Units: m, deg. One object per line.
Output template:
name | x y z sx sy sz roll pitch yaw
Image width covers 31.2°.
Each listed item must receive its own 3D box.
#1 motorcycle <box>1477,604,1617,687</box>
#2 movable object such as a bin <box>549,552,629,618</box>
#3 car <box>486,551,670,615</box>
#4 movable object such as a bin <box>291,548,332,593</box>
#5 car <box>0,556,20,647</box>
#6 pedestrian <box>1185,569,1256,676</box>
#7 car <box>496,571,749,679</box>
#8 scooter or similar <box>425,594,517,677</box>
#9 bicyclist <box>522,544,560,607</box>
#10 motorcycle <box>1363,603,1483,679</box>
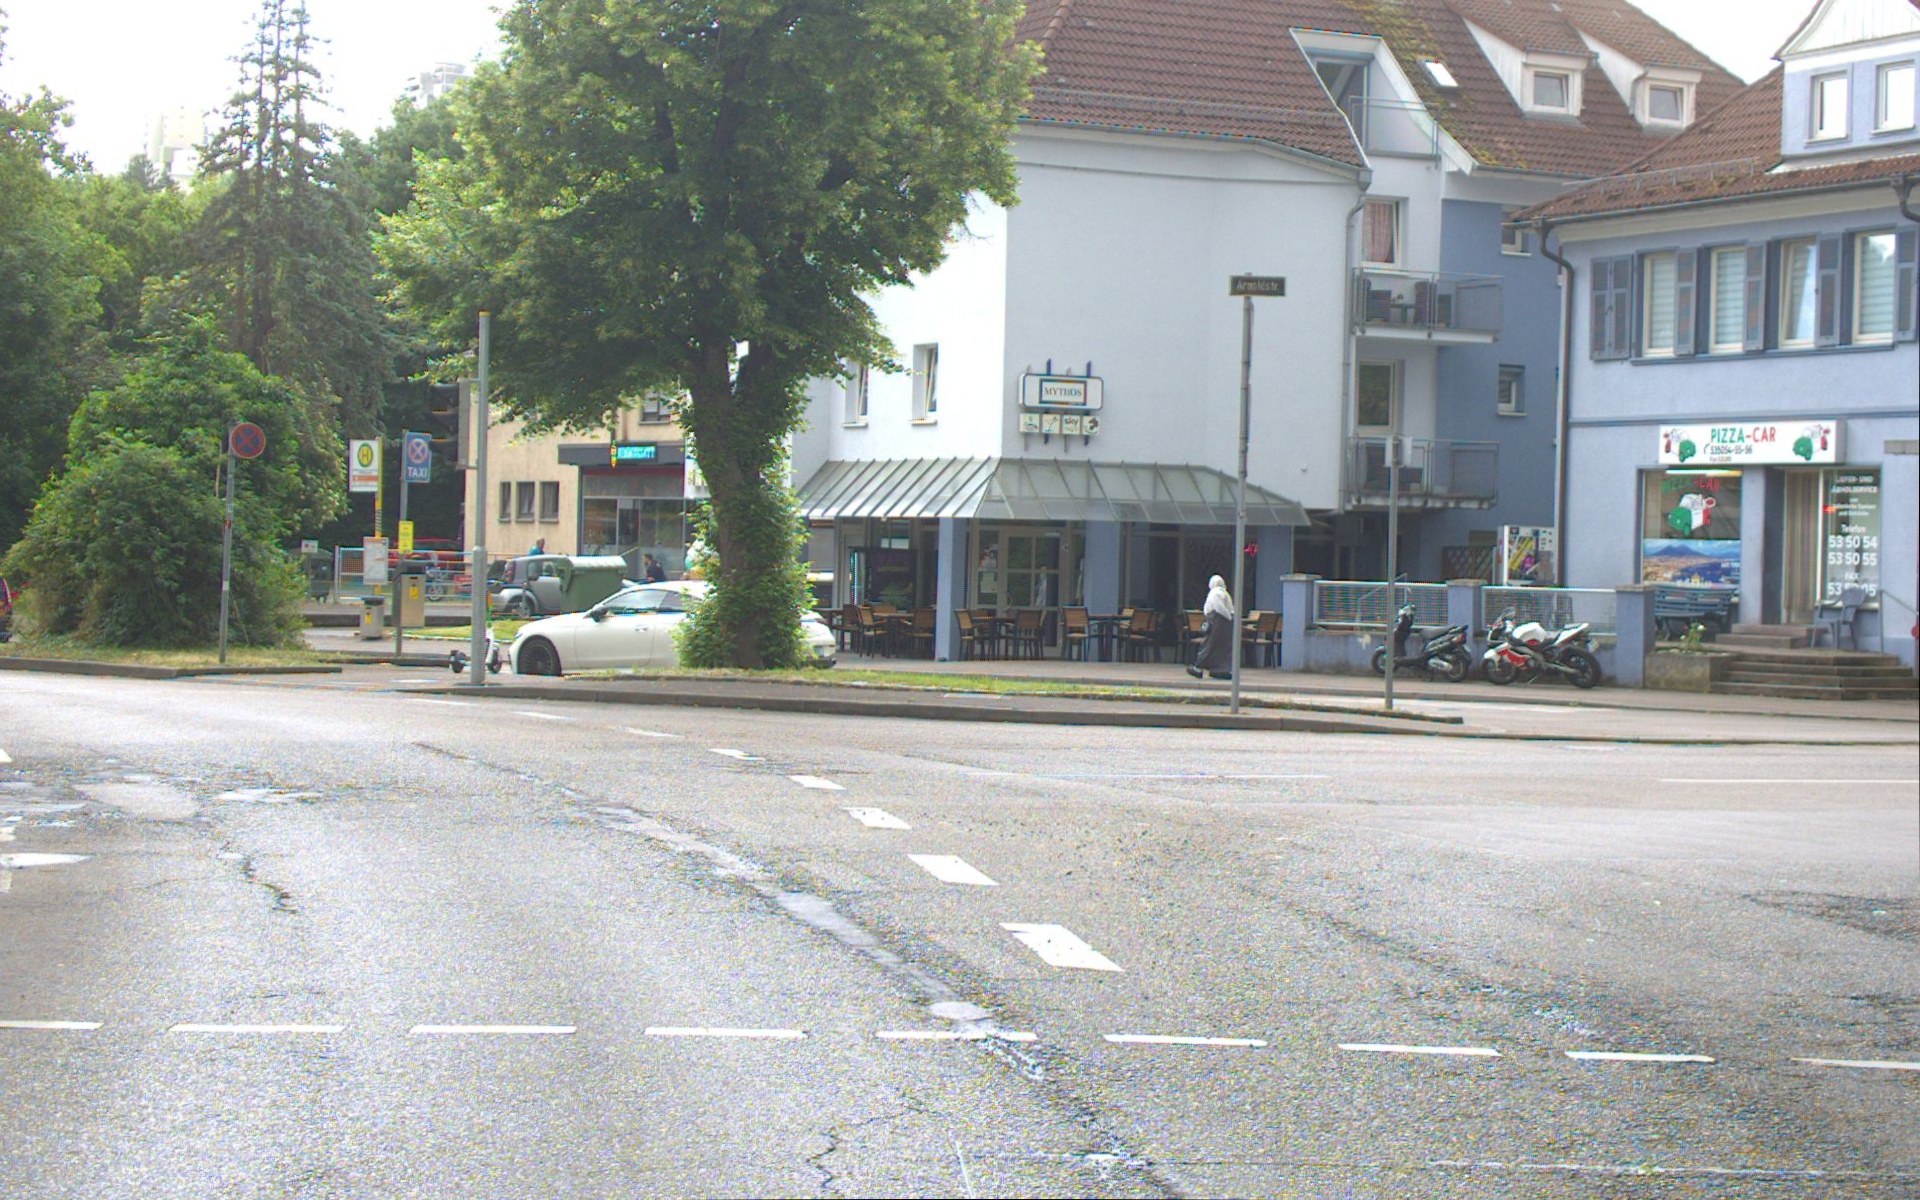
motorcycle | 8.256 0.632 48.385 1.798 1.118 0.693 2 1 38
movable object such as a bin | -7.985 -0.327 73.979 1.440 1.404 0.967 1 1 -27
car | -8.428 -0.368 75.876 3.733 1.340 1.434 1 1 -26
movable object such as a bin | -16.250 -0.735 86.171 0.950 1.111 0.383 1 1 -21
car | -16.515 -0.015 53.725 3.590 1.389 1.469 2 1 32
pedestrian | 3.824 0.331 50.541 0.768 1.539 0.677 1 1 39
car | -4.531 0.315 46.047 3.171 1.350 1.436 2 1 35
scooter or similar | -6.059 0.431 42.654 0.417 1.008 1.565 1 1 20
bicyclist | -10.295 -0.606 84.449 0.598 1.536 0.739 1 1 -39
motorcycle | 6.751 0.594 50.164 1.636 1.060 0.693 2 1 44
